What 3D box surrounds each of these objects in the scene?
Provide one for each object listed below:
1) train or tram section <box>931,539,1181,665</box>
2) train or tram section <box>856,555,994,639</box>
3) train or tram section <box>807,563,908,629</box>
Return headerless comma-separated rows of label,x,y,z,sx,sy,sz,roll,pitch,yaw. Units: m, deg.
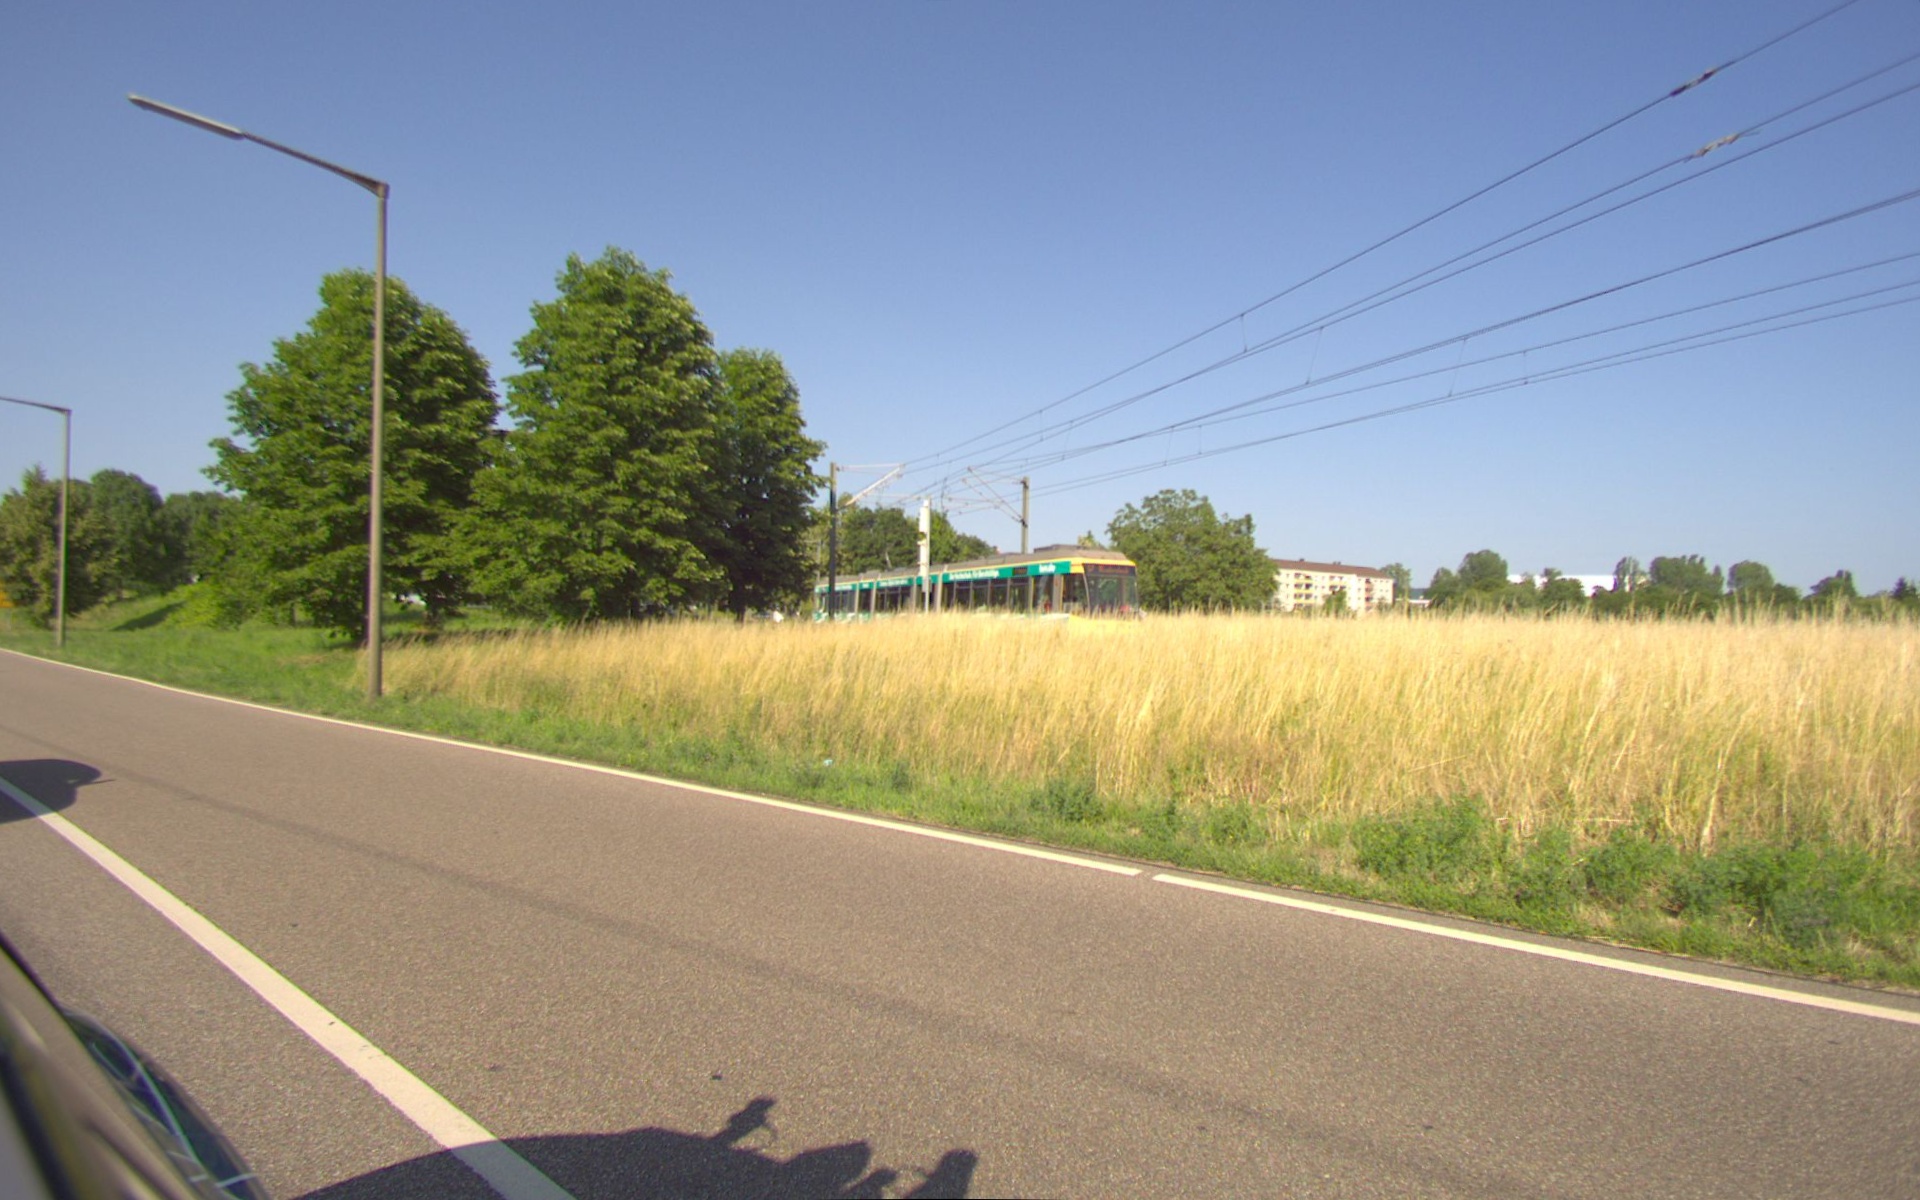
train or tram section,2.645,-0.078,36.057,2.865,3.595,14.308,0,1,-21
train or tram section,-2.017,-0.168,48.495,2.876,3.480,12.205,0,0,-20
train or tram section,-6.319,-0.182,59.938,2.909,3.511,12.205,0,0,-20
